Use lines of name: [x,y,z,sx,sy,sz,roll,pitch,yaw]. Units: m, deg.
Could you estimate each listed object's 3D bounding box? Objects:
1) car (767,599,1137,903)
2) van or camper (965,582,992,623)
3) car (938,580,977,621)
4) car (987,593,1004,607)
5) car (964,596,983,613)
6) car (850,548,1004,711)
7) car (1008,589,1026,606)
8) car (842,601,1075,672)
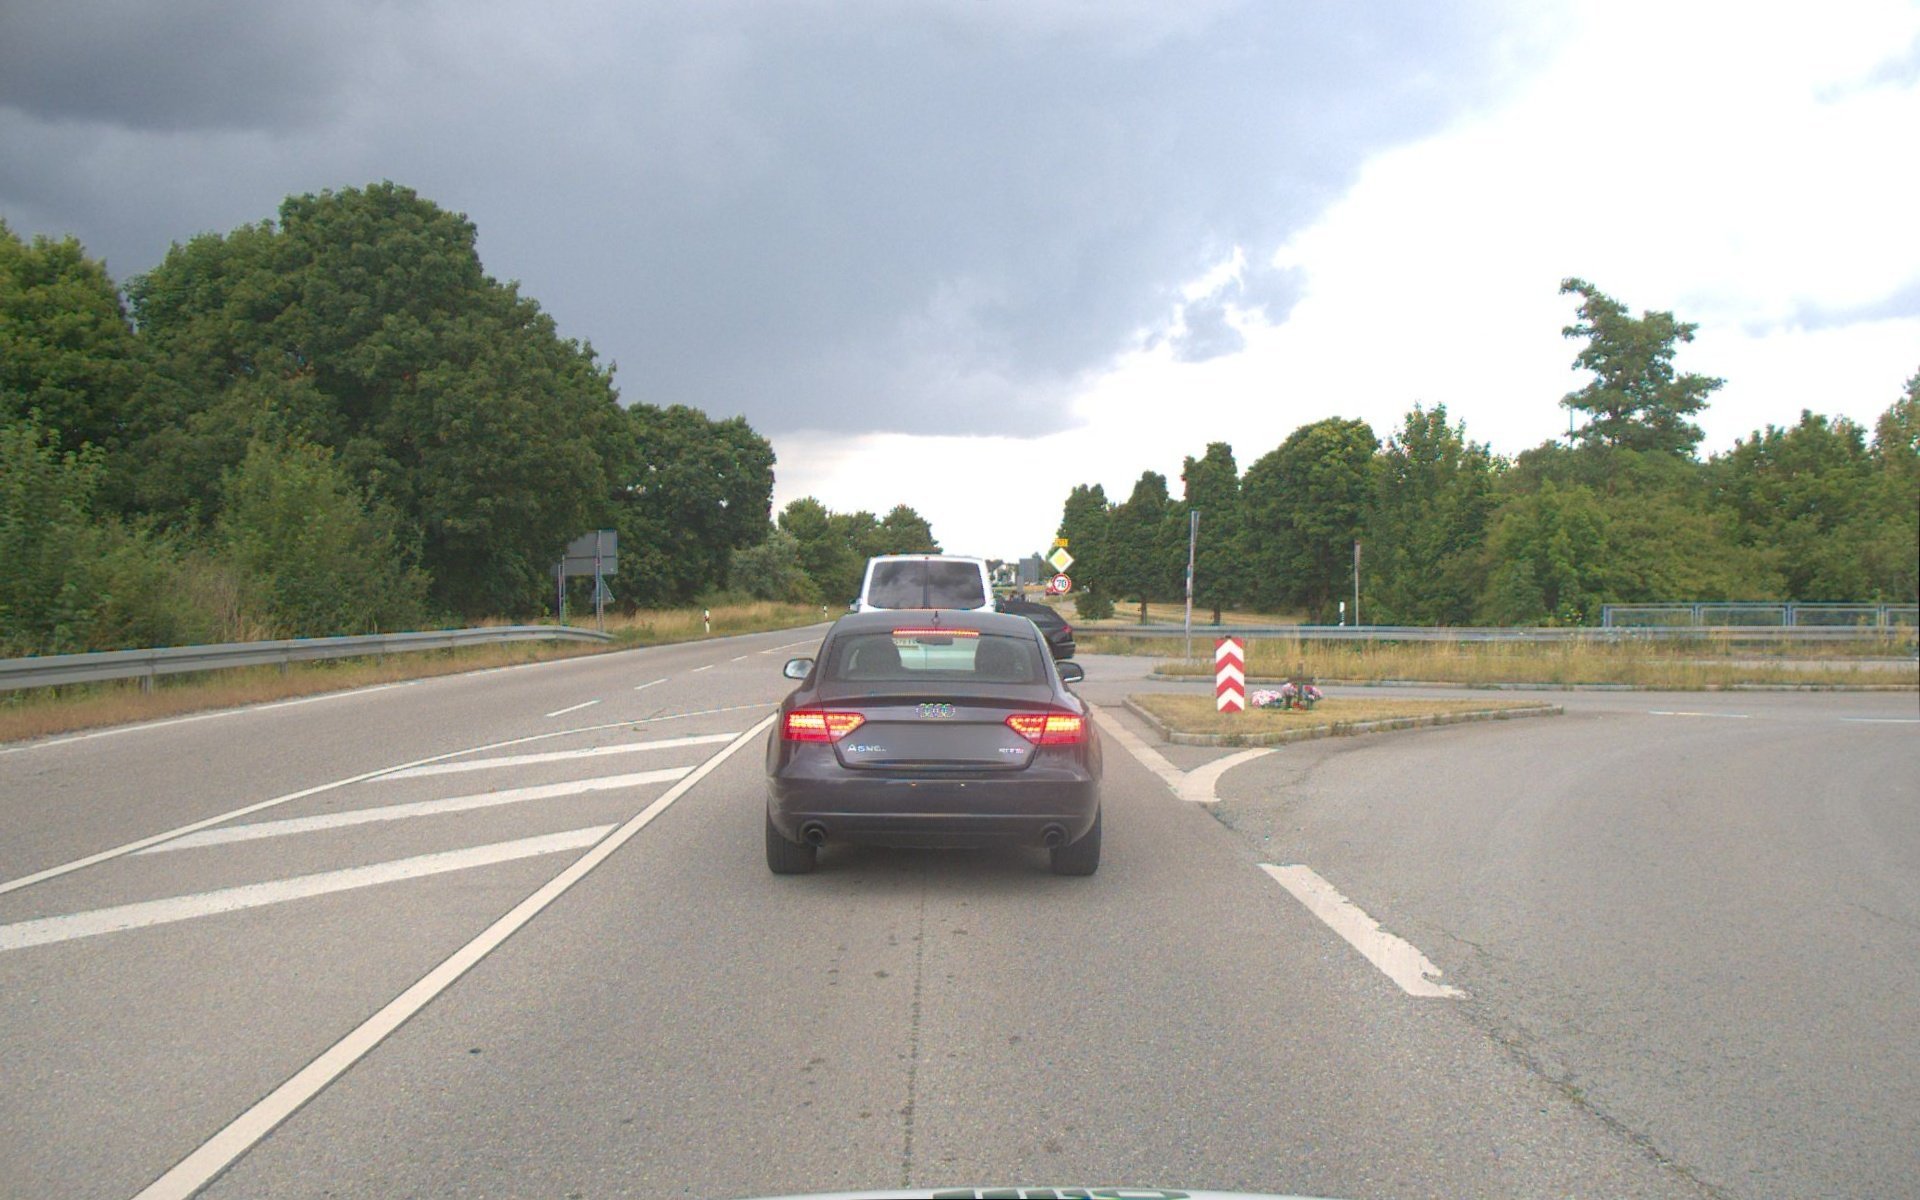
car: [-0.063,0.719,9.888,1.746,1.400,3.999,1,0,-1]
van or camper: [1.676,0.223,145.855,2.292,3.542,5.719,0,0,1]
car: [-0.107,0.023,88.732,1.952,2.125,4.001,0,0,2]
car: [3.828,0.011,178.780,1.683,1.477,4.000,1,0,0]
car: [1.046,0.350,129.696,1.231,1.377,3.468,0,0,5]
car: [-0.421,0.336,21.724,1.801,1.915,3.999,1,0,-1]
car: [7.088,-0.286,206.495,1.953,2.049,3.999,0,0,-1]
car: [-0.047,0.731,34.332,4.523,1.398,1.818,0,0,-17]
